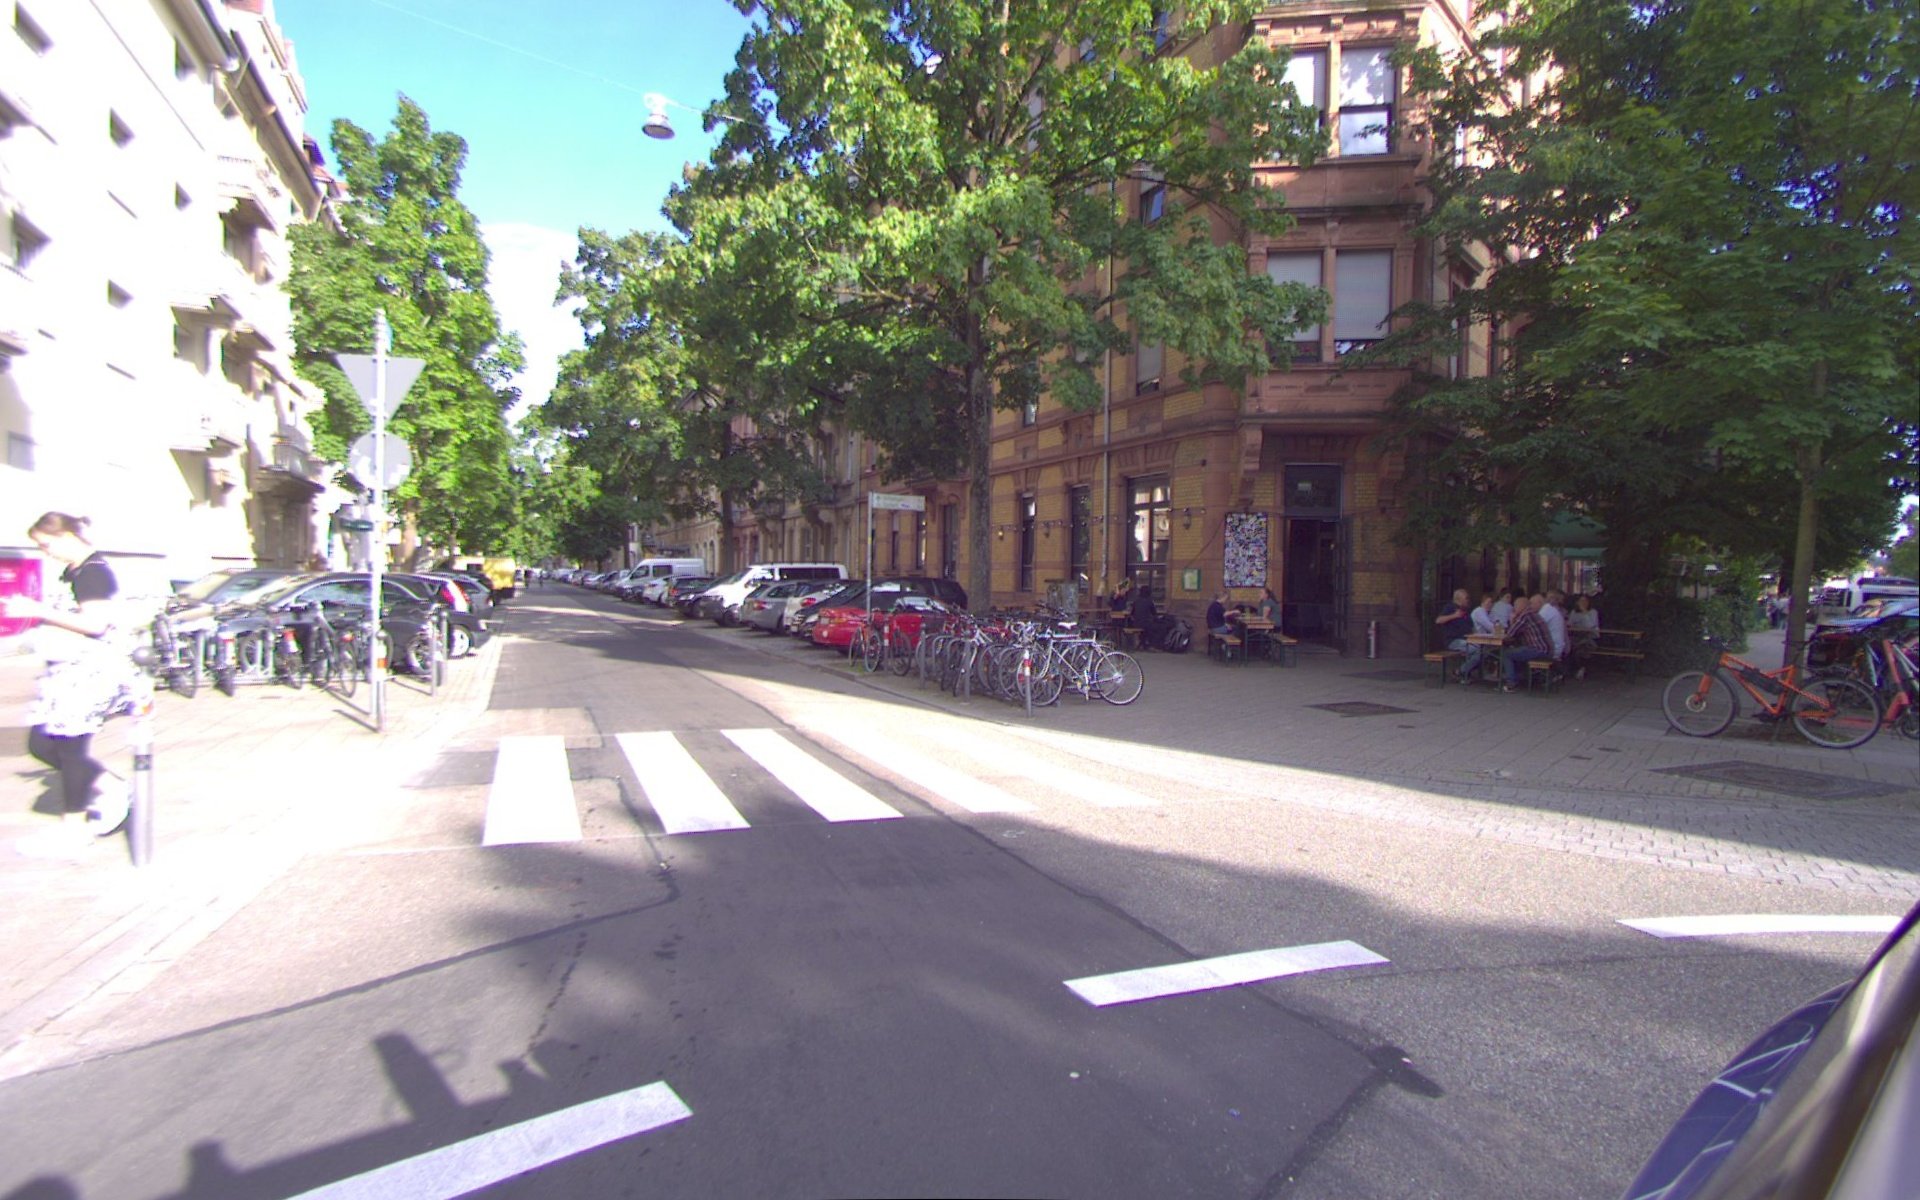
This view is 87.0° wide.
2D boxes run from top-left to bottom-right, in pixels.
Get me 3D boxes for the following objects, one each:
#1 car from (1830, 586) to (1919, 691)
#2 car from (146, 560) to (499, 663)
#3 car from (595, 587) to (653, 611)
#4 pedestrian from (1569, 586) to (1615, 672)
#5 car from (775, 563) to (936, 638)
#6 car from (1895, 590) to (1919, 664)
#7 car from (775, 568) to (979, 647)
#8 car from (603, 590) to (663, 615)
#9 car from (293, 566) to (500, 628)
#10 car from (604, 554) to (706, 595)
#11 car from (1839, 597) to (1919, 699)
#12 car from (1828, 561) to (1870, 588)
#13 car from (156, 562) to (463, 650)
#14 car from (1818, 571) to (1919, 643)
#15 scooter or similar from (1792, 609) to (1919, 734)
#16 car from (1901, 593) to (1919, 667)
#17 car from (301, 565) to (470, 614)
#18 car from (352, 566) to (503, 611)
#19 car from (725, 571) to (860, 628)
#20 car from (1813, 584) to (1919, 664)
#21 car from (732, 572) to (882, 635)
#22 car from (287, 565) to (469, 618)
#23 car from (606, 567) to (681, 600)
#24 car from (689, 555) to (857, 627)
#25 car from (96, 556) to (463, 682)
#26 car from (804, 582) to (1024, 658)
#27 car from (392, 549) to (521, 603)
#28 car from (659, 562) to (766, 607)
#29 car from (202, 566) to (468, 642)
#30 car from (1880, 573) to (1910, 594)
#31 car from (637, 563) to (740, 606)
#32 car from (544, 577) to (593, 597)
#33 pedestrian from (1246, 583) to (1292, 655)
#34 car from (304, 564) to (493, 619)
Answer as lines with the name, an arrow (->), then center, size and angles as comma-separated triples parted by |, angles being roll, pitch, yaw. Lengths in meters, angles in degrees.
car -> 16.749, 0.695, 16.449 | 3.542, 1.635, 1.504 | 4, 2, 19
car -> -10.415, 0.166, 16.935 | 1.941, 1.473, 4.613 | 1, 0, 31
car -> -25.043, -0.072, 75.460 | 3.917, 1.754, 1.833 | 0, 0, -24
pedestrian -> 10.249, 0.462, 16.423 | 0.460, 1.343, 0.618 | 1, 2, 18
car -> -2.626, 0.011, 25.260 | 3.630, 1.743, 1.865 | 0, 0, -22
car -> 21.089, 0.663, 19.911 | 3.542, 1.482, 1.504 | 4, 2, 19
car -> -1.899, 0.107, 22.824 | 4.222, 1.589, 2.012 | -2, 2, -17
car -> -23.513, 0.137, 72.699 | 3.917, 1.754, 1.833 | 0, 0, -24
car -> -15.087, -0.065, 27.325 | 1.741, 1.514, 4.564 | 1, 0, 39
car -> -17.280, -1.422, 57.423 | 5.367, 2.229, 2.004 | 0, 0, -23
car -> 15.219, 0.775, 14.520 | 3.539, 1.397, 1.506 | 4, 2, 17
car -> 61.375, -1.741, 69.920 | 1.839, 1.756, 3.948 | 0, 0, 36
car -> -12.056, 0.098, 19.103 | 1.737, 1.452, 4.577 | 1, 0, 31
car -> 33.562, 0.230, 35.679 | 4.662, 2.453, 1.994 | 0, 0, 10
scooter or similar -> 9.891, 0.755, 10.891 | 0.545, 1.226, 1.295 | 3, 1, -25
car -> 19.222, 0.669, 17.780 | 3.542, 1.338, 1.504 | 4, 2, 19
car -> -19.033, -0.328, 33.700 | 1.741, 1.514, 4.564 | 1, 0, 39
car -> -19.378, -0.389, 37.010 | 1.741, 1.514, 4.564 | 1, 0, 39
car -> -4.963, -0.054, 29.969 | 3.631, 1.475, 1.674 | -3, 3, -21
car -> 21.586, 0.577, 22.542 | 3.542, 1.632, 1.504 | 4, 2, 19
car -> -4.105, 0.056, 27.125 | 3.631, 1.476, 1.673 | -3, 1, -22
car -> -17.845, -0.227, 31.222 | 1.741, 1.514, 4.564 | 1, 0, 39
car -> -18.745, -0.963, 59.910 | 4.040, 1.897, 2.004 | 0, 0, -23
car -> -5.926, -0.342, 32.149 | 4.812, 2.013, 2.050 | -3, 3, -26
car -> -9.439, 0.242, 14.279 | 1.803, 1.473, 3.940 | 4, 1, 41
car -> -0.897, 0.344, 19.987 | 4.028, 1.286, 1.570 | -2, 1, -25
car -> -22.585, -1.047, 45.581 | 2.134, 2.249, 4.749 | 1, 0, 35
car -> -11.289, -0.735, 46.119 | 4.369, 1.856, 1.940 | -3, 3, -26
car -> -13.292, 0.083, 21.785 | 1.741, 1.452, 4.564 | 1, 0, 39
car -> 86.773, -1.524, 93.866 | 1.993, 1.912, 3.937 | 0, 0, 44
car -> -12.858, -0.782, 48.020 | 4.369, 1.856, 1.940 | -3, 3, -26
car -> -34.737, -1.157, 89.746 | 3.917, 1.754, 1.833 | 0, 0, -24
pedestrian -> 5.728, 0.340, 18.794 | 0.628, 1.274, 0.513 | -1, 3, -16
car -> -16.462, -0.217, 29.896 | 1.741, 1.514, 4.564 | 1, 0, 39
